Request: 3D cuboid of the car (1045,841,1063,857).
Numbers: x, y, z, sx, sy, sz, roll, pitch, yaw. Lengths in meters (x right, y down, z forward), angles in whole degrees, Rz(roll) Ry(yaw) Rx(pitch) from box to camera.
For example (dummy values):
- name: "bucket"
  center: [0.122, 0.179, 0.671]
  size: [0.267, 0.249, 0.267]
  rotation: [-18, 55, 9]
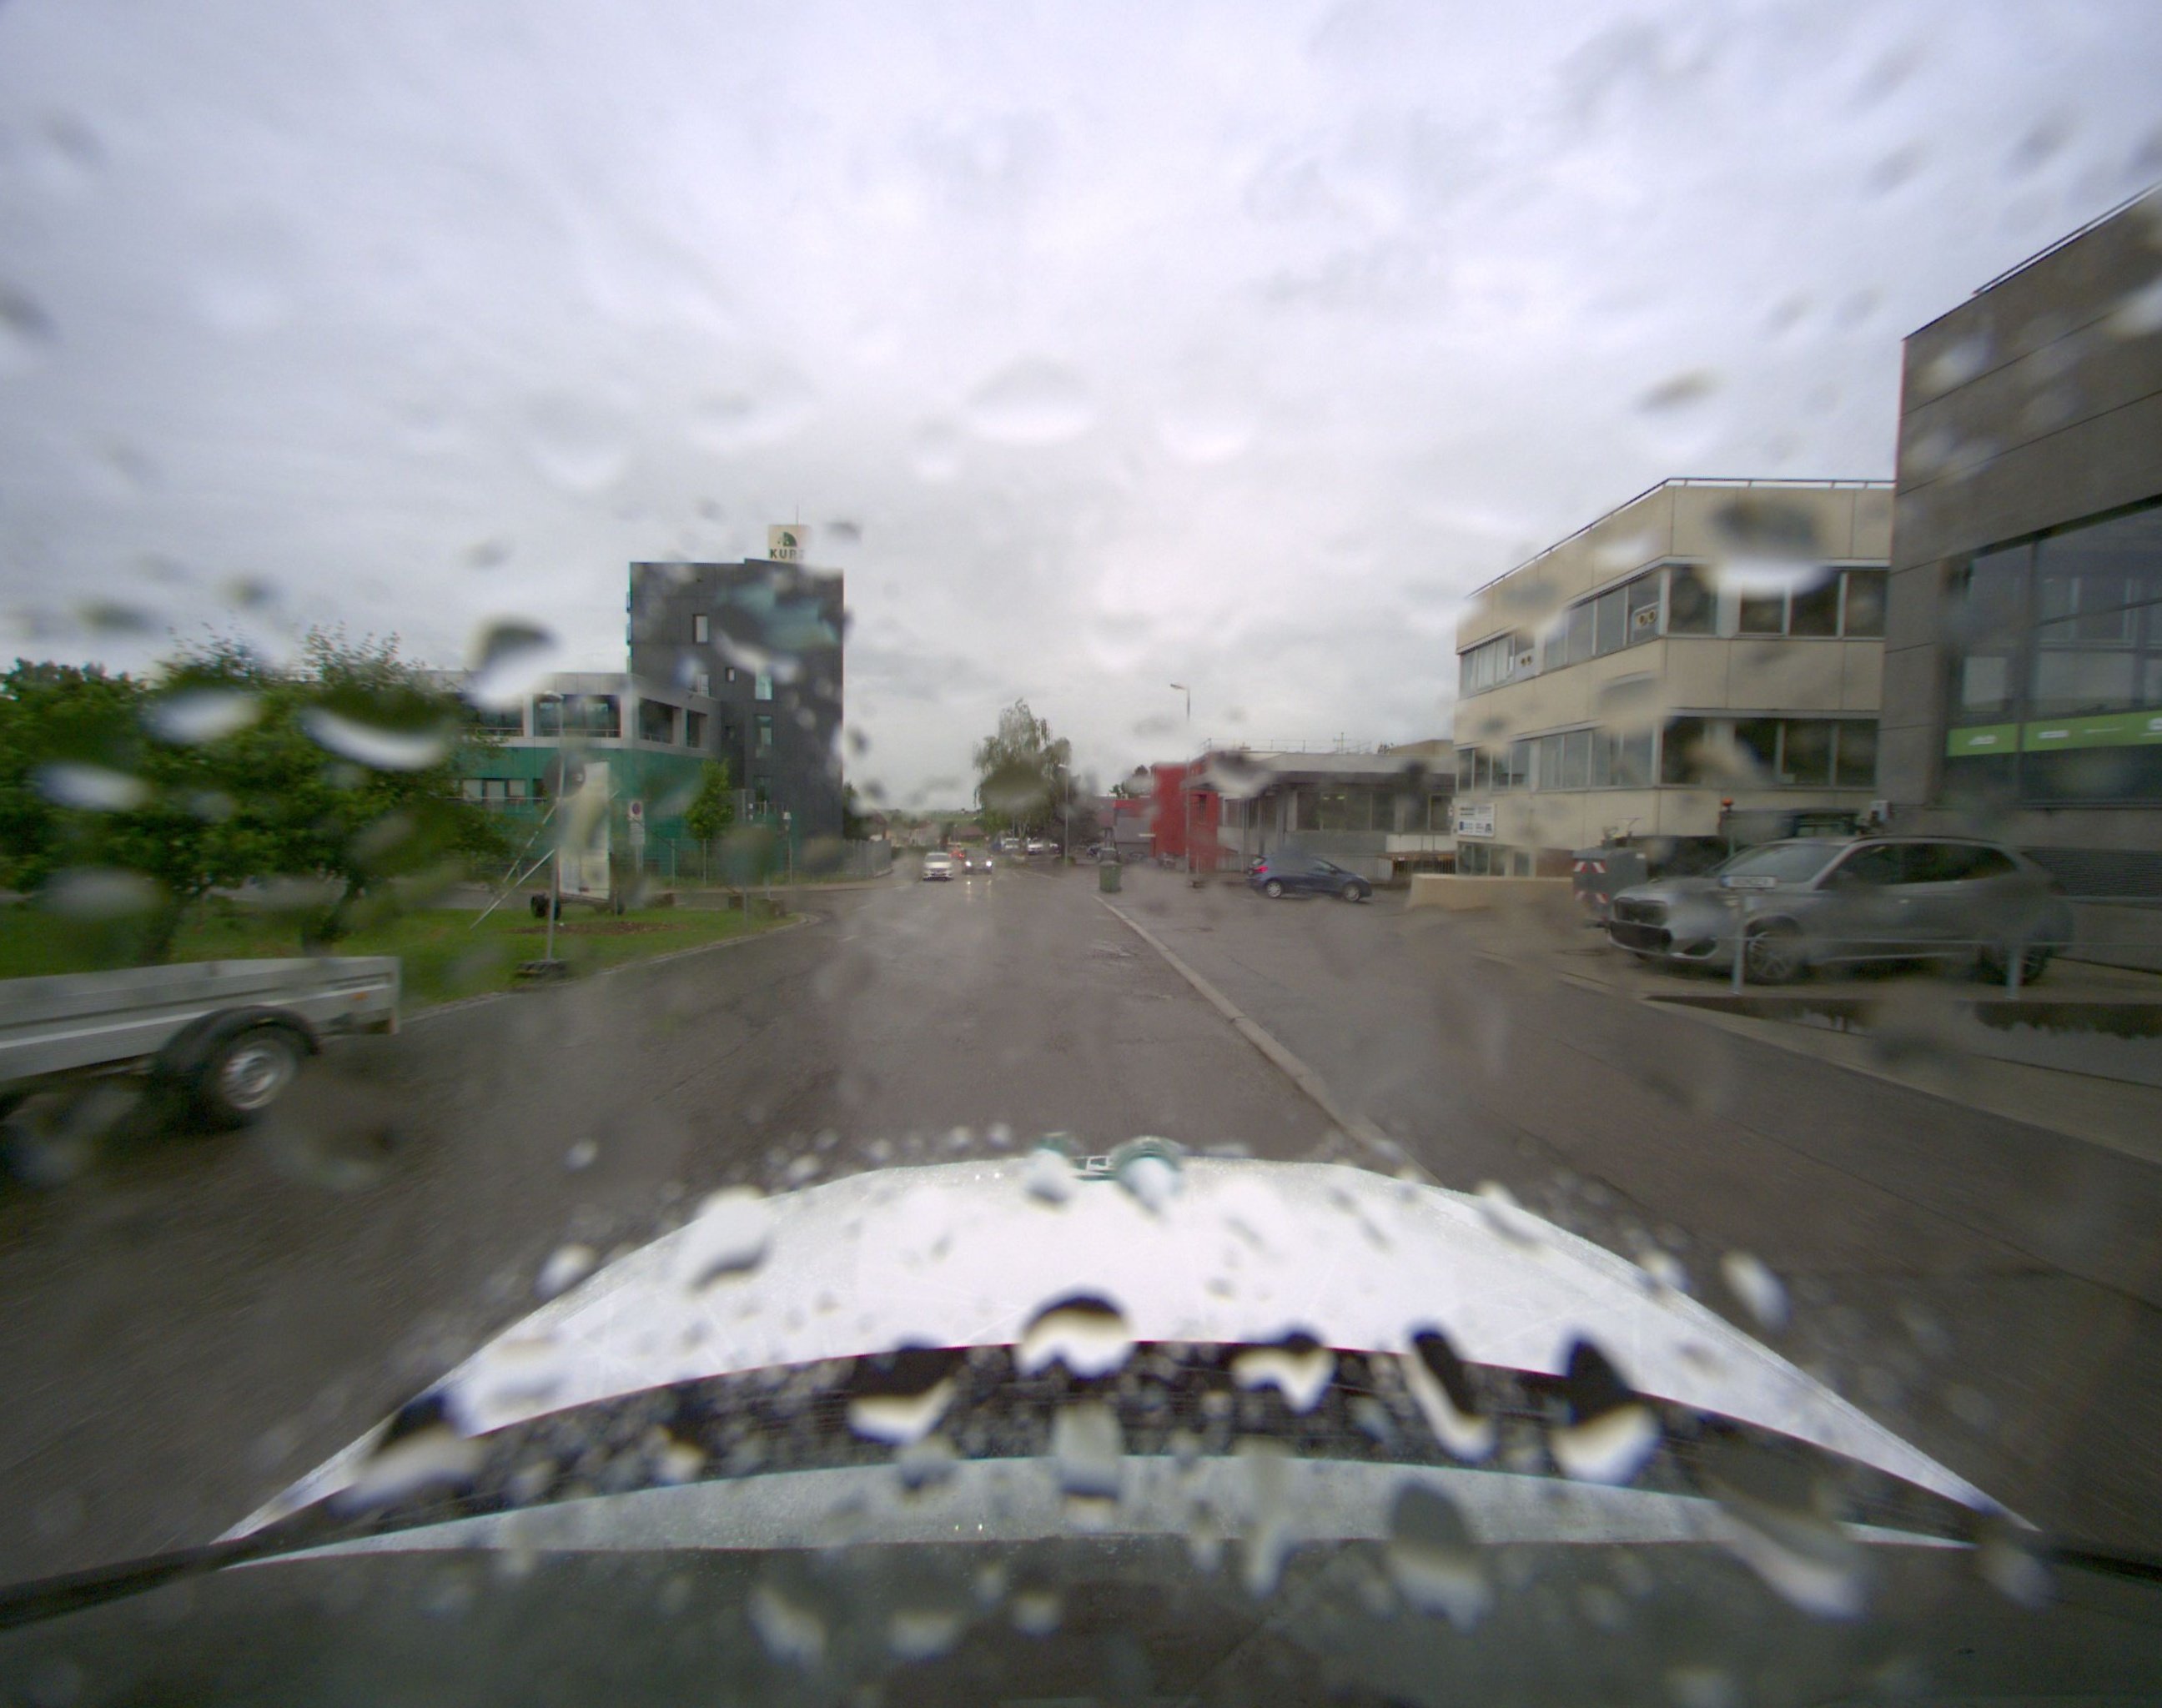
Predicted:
- name: "car"
  center: [-3.558, -0.610, 107.022]
  size: [2.143, 2.014, 3.930]
  rotation: [0, -1, -6]

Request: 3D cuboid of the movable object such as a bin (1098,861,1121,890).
- name: "movable object such as a bin"
  center: [1.115, 0.842, 31.949]
  size: [0.808, 1.090, 0.540]
  rotation: [-1, 0, -5]

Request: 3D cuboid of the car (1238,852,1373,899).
- name: "car"
  center: [7.235, 0.694, 26.478]
  size: [3.883, 1.383, 1.820]
  rotation: [2, -1, -1]

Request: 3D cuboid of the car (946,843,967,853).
- name: "car"
  center: [-28.229, -1.423, 184.777]
  size: [4.219, 2.226, 2.003]
  rotation: [0, -1, 6]

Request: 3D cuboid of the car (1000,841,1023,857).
- name: "car"
  center: [-9.015, -0.614, 105.571]
  size: [2.269, 2.014, 3.979]
  rotation: [0, -1, -15]

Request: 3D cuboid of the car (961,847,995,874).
- name: "car"
  center: [-7.526, 0.468, 59.080]
  size: [1.888, 1.886, 5.047]
  rotation: [0, 0, -14]

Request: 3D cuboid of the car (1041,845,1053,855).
- name: "car"
  center: [-4.695, -0.500, 112.644]
  size: [1.397, 1.326, 2.695]
  rotation: [0, -1, -6]

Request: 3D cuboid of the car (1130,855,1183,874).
- name: "car"
  center: [4.921, 0.687, 53.365]
  size: [3.387, 1.163, 1.792]
  rotation: [0, 0, 1]

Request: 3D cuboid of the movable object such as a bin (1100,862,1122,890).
- name: "movable object such as a bin"
  center: [1.147, 0.843, 31.375]
  size: [0.774, 1.076, 0.582]
  rotation: [-1, 0, -5]

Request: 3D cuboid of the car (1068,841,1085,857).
- name: "car"
  center: [-0.609, -0.614, 107.423]
  size: [1.779, 2.014, 3.624]
  rotation: [0, -1, -6]

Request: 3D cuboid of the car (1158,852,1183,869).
- name: "car"
  center: [7.798, 0.602, 70.981]
  size: [1.723, 1.422, 3.999]
  rotation: [0, -1, 0]

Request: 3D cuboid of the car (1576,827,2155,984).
- name: "car"
  center: [8.970, 0.535, 9.646]
  size: [5.076, 1.613, 1.924]
  rotation: [-1, 0, -1]

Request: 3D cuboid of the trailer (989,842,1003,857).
- name: "trailer"
  center: [-11.481, -0.584, 109.552]
  size: [1.851, 2.013, 3.990]
  rotation: [0, 0, -7]

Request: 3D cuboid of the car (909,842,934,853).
- name: "car"
  center: [-27.974, -1.101, 143.142]
  size: [3.974, 1.882, 2.000]
  rotation: [0, 0, 0]

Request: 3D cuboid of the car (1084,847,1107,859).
- name: "car"
  center: [1.679, -0.116, 93.283]
  size: [2.544, 1.352, 1.240]
  rotation: [0, 0, -5]

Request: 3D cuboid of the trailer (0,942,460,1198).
- name: "trailer"
  center: [-5.638, 1.097, 4.346]
  size: [1.675, 0.888, 3.895]
  rotation: [0, -1, -1]

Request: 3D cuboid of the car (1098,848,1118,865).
- name: "car"
  center: [2.332, 0.258, 71.177]
  size: [1.692, 1.475, 3.999]
  rotation: [0, -1, 0]

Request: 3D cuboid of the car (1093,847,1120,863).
- name: "car"
  center: [2.422, 0.111, 78.656]
  size: [2.064, 1.552, 3.989]
  rotation: [0, -1, -8]

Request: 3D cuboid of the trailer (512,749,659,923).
- name: "trailer"
  center: [-13.299, -0.412, 21.772]
  size: [4.132, 4.203, 2.019]
  rotation: [-1, -1, 38]

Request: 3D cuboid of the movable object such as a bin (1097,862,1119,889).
- name: "movable object such as a bin"
  center: [1.069, 0.847, 32.508]
  size: [0.807, 1.076, 0.580]
  rotation: [-1, 0, -5]

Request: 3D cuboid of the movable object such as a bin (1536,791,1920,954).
- name: "movable object such as a bin"
  center: [8.966, 0.242, 11.504]
  size: [4.240, 2.110, 1.477]
  rotation: [-1, 0, 0]

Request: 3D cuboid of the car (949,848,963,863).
- name: "car"
  center: [-17.531, 0.173, 114.428]
  size: [1.869, 2.029, 3.988]
  rotation: [0, -1, -9]

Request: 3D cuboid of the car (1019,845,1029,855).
- name: "car"
  center: [-7.842, -0.536, 111.613]
  size: [1.288, 1.424, 2.540]
  rotation: [0, -1, -6]

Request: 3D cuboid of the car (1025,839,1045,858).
- name: "car"
  center: [-6.013, -0.667, 106.037]
  size: [2.191, 2.459, 3.988]
  rotation: [0, -1, -8]

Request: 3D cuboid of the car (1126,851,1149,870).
- name: "car"
  center: [4.953, 0.580, 71.804]
  size: [1.733, 1.653, 3.999]
  rotation: [0, -1, 0]

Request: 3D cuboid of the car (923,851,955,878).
- name: "car"
  center: [-8.385, 0.631, 47.951]
  size: [1.771, 1.513, 4.129]
  rotation: [-1, -1, -11]

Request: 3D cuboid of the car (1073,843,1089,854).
- name: "car"
  center: [-0.032, -0.692, 113.299]
  size: [1.636, 1.453, 3.500]
  rotation: [0, -1, -9]

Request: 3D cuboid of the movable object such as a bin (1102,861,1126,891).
- name: "movable object such as a bin"
  center: [1.242, 0.837, 30.729]
  size: [0.805, 1.092, 0.708]
  rotation: [-1, 0, -5]

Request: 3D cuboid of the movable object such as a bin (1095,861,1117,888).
- name: "movable object such as a bin"
  center: [1.017, 0.837, 33.110]
  size: [0.800, 1.079, 0.623]
  rotation: [-1, 0, -5]
